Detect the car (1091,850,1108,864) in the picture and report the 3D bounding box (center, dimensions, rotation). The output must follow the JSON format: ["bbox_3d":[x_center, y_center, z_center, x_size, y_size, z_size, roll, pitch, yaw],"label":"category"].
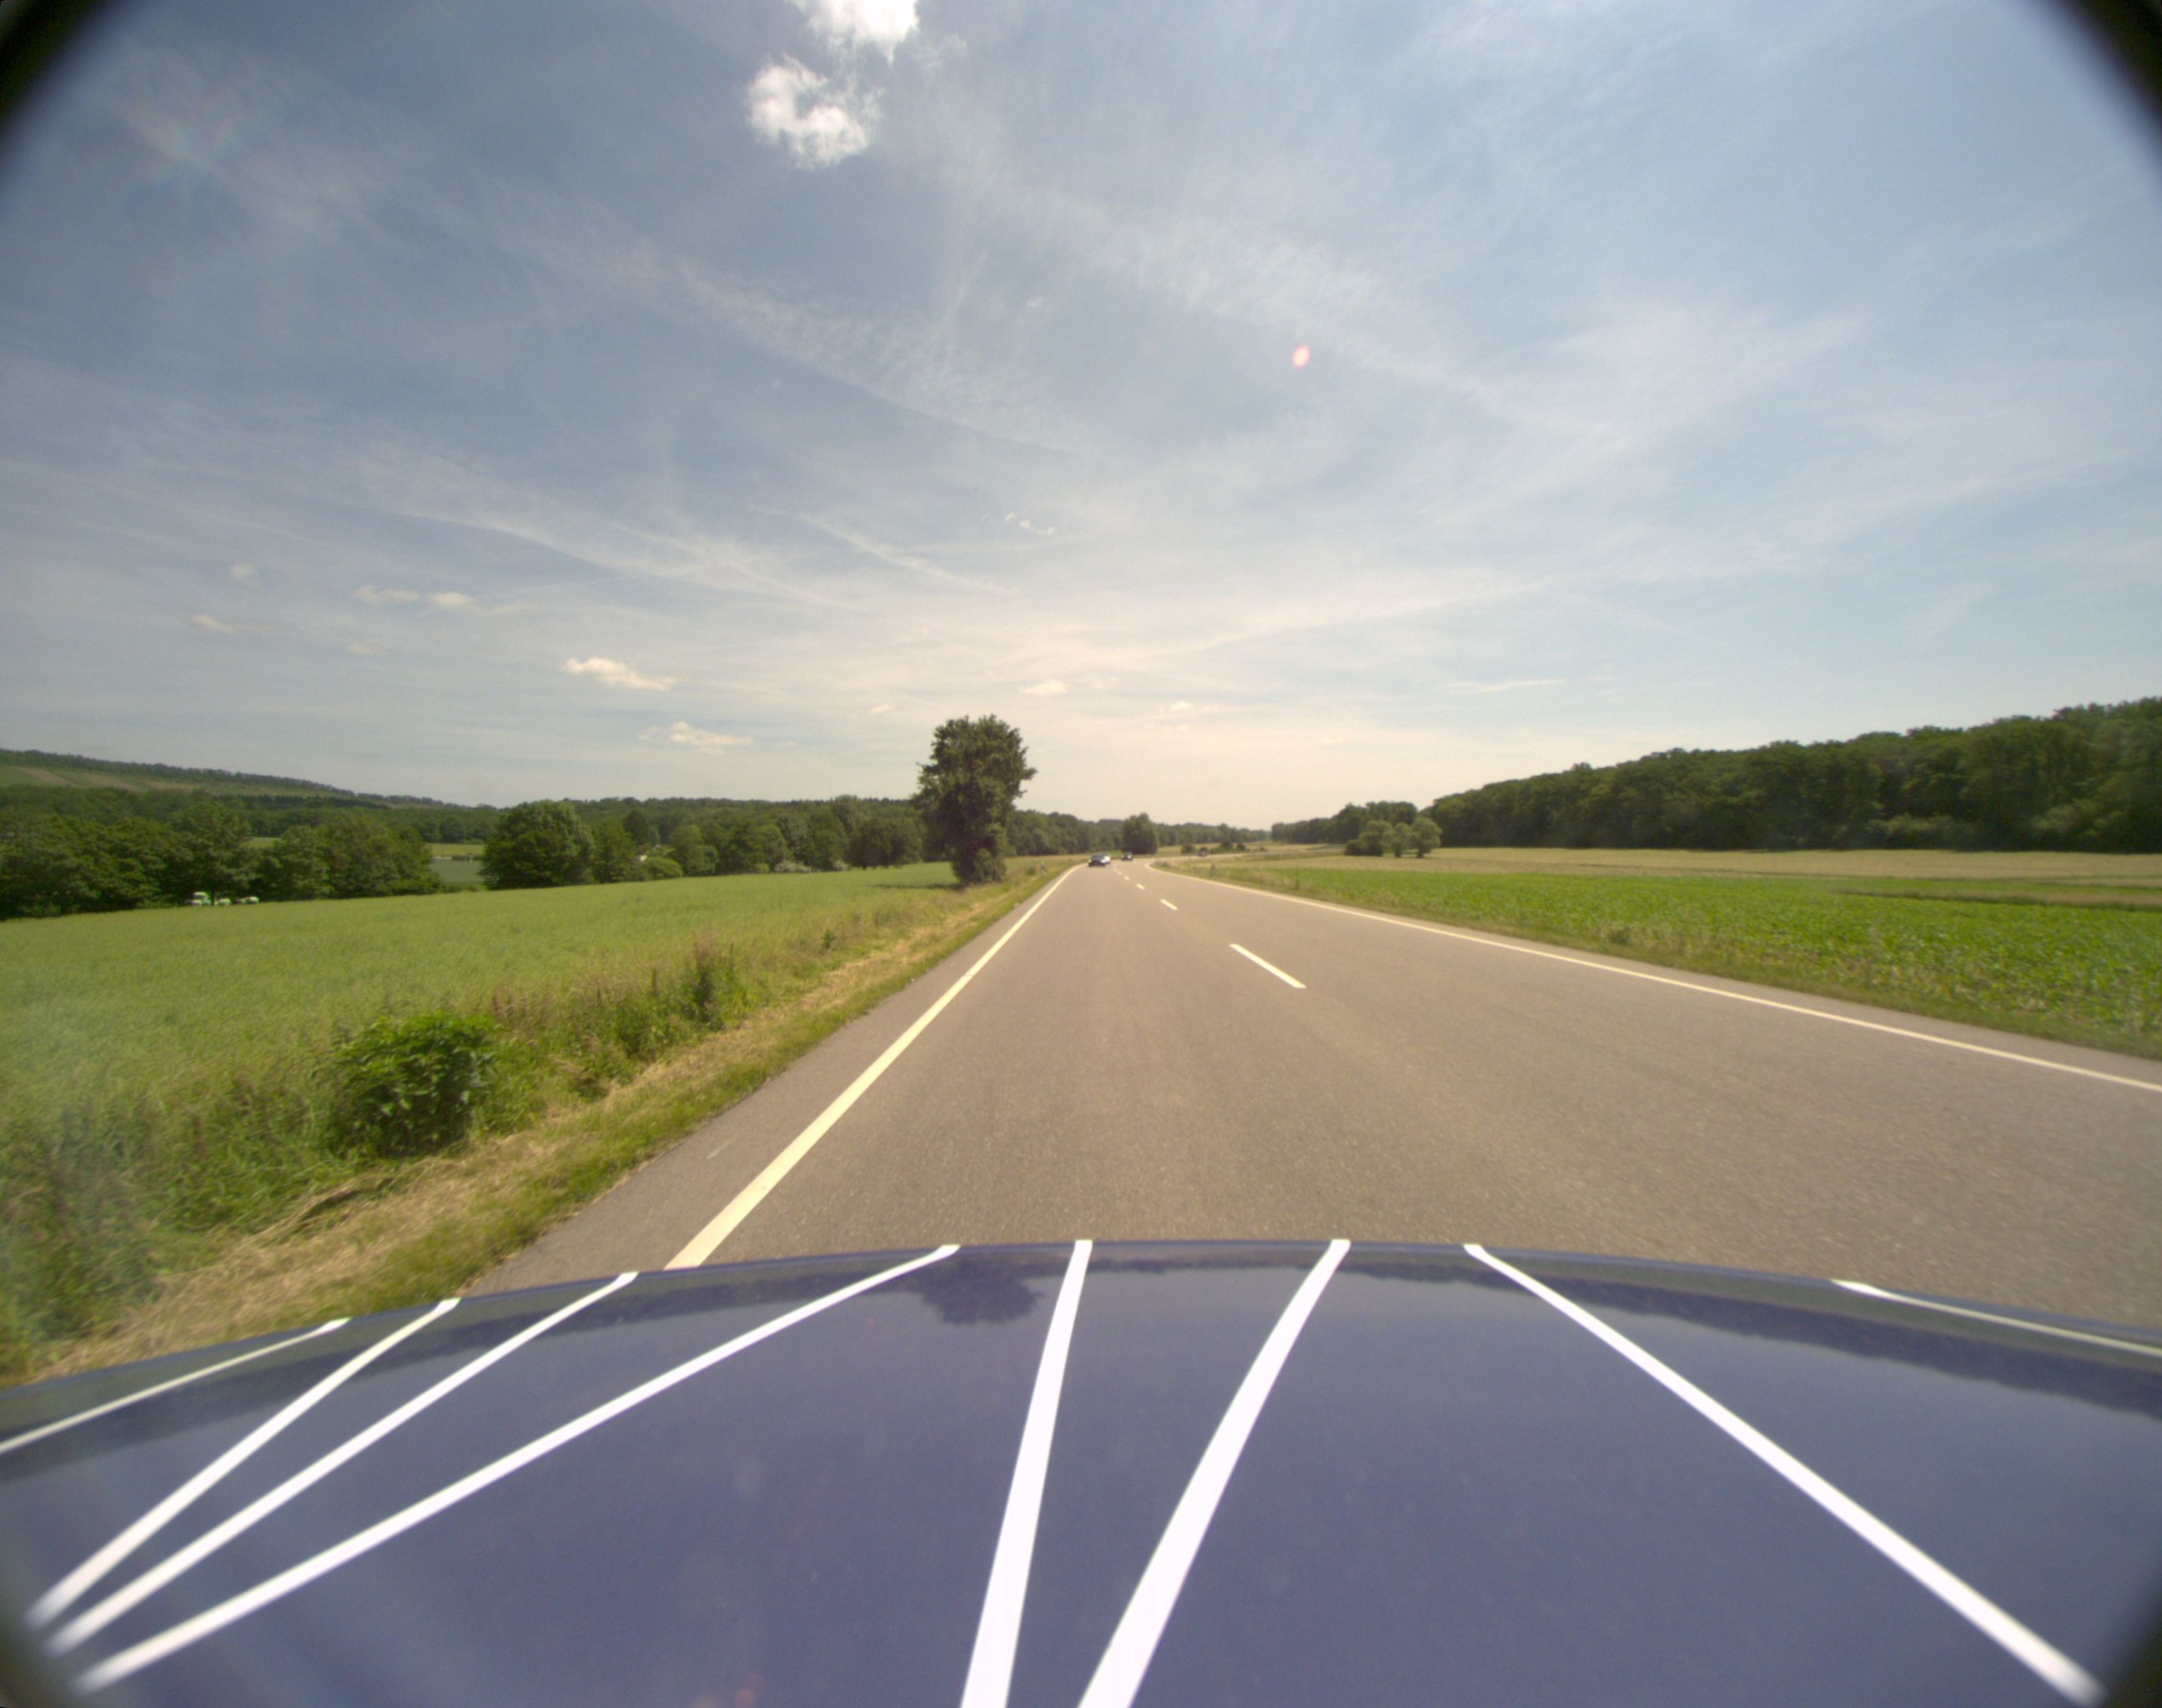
[{"bbox_3d":[2.028,0.344,82.126,1.621,1.428,3.444,1,1,5],"label":"car"}]

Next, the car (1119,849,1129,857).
[{"bbox_3d":[8.002,-0.204,140.886,1.621,1.429,3.442,0,2,1],"label":"car"}]

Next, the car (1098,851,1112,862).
[{"bbox_3d":[3.240,0.283,101.542,1.621,1.428,3.444,1,0,4],"label":"car"}]

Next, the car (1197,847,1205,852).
[{"bbox_3d":[35.064,-1.354,221.929,1.618,1.429,3.448,2,3,24],"label":"car"}]
